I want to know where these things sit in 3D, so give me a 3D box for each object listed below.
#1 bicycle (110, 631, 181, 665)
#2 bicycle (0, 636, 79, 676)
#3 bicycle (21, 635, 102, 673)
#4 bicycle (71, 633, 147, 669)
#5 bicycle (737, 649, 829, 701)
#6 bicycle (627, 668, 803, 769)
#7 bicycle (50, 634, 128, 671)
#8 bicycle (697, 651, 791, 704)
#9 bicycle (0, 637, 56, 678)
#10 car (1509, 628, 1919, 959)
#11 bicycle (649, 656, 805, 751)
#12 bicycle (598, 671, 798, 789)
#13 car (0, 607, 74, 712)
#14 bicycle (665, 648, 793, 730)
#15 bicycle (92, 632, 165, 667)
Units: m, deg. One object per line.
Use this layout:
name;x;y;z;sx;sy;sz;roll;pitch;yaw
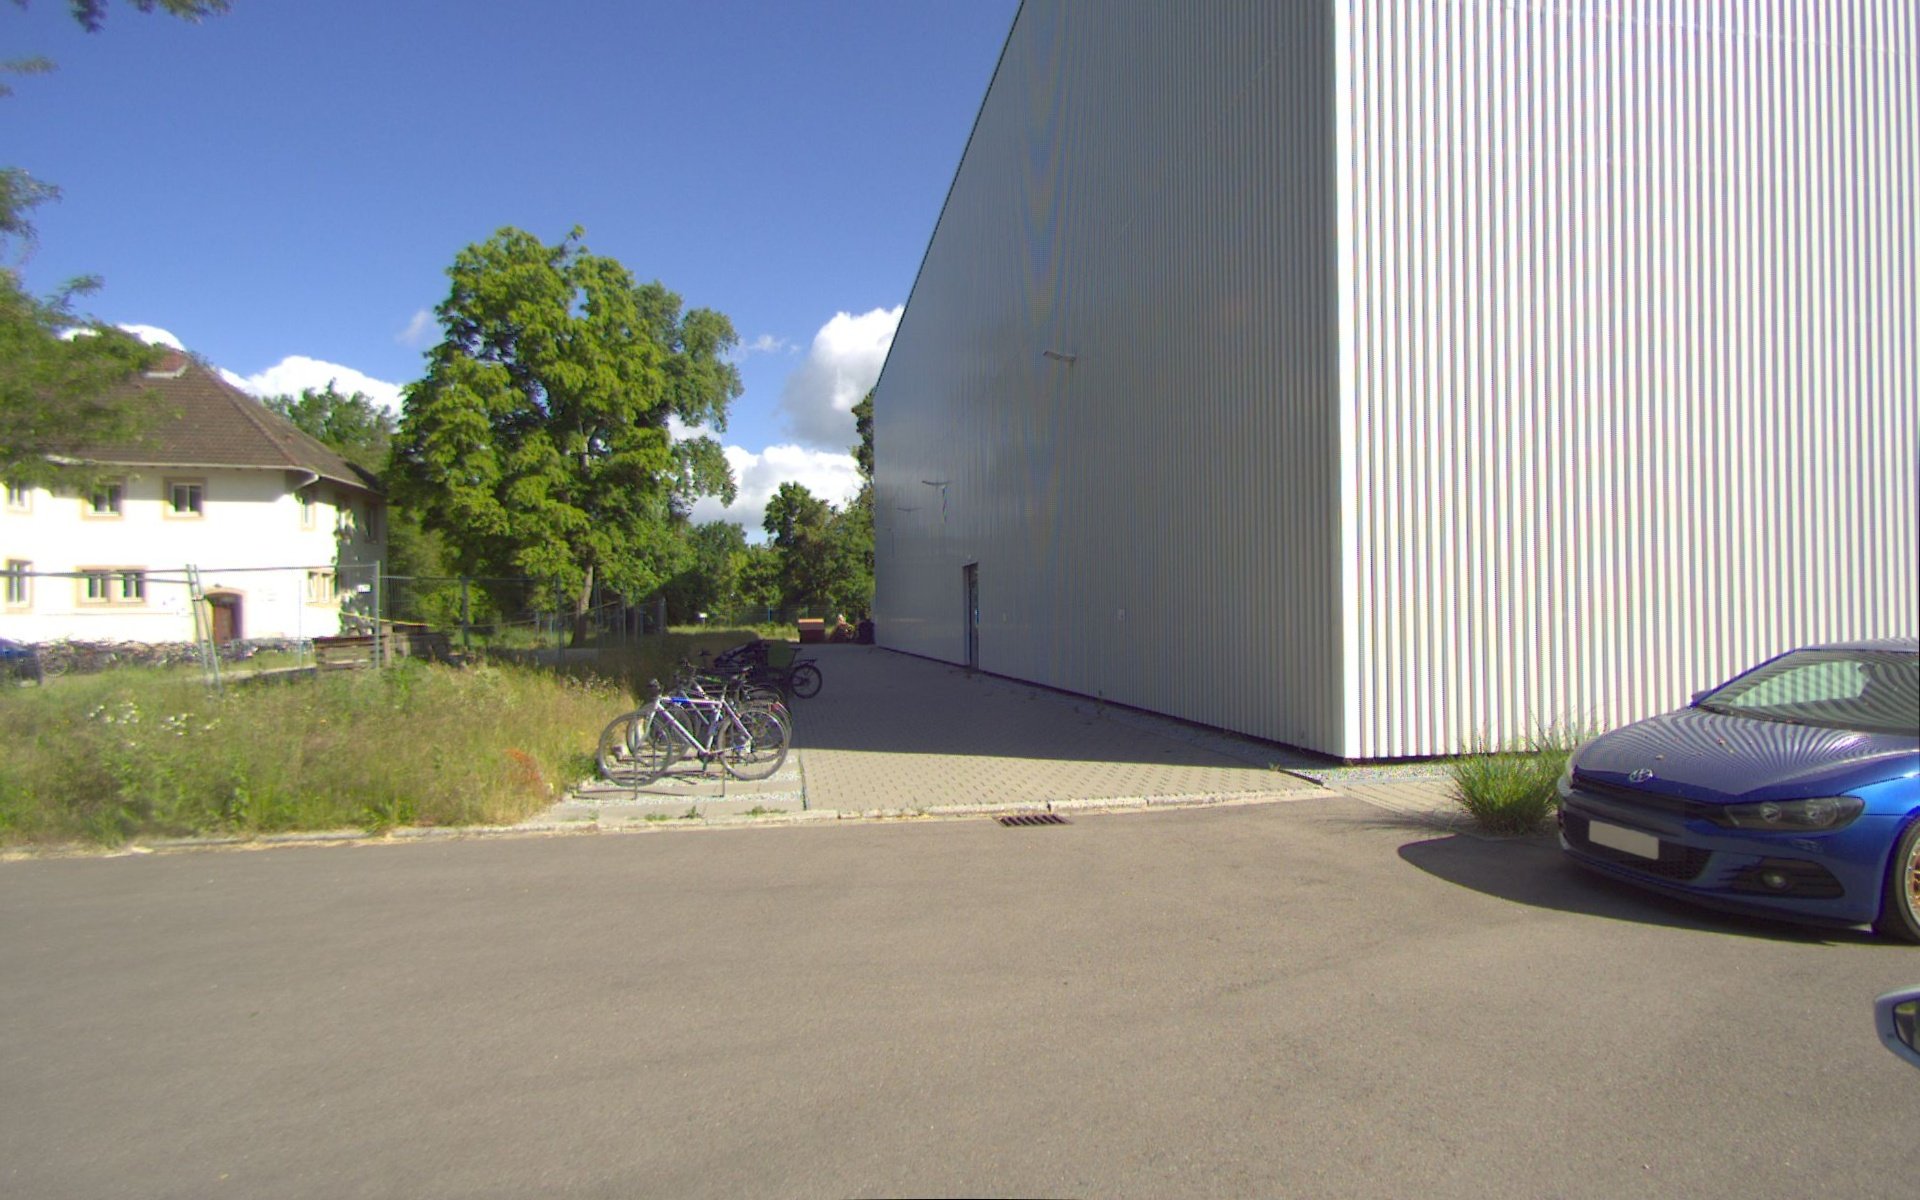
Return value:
bicycle;-29.358;1.731;36.213;1.807;1.148;0.795;2;0;-5
bicycle;-28.684;1.728;31.239;1.787;1.148;0.796;2;0;-5
bicycle;-28.785;1.729;32.191;1.795;1.148;0.758;2;0;-5
bicycle;-29.108;1.730;34.380;1.809;1.148;0.795;2;0;-5
bicycle;-3.591;1.515;20.440;1.805;0.973;0.480;0;0;-16
bicycle;-2.623;1.252;10.817;1.804;0.973;0.480;0;0;-16
bicycle;-28.936;1.730;33.377;1.809;1.148;0.795;2;0;-5
bicycle;-4.237;1.510;19.716;1.784;0.973;0.480;0;0;-16
bicycle;-28.538;1.727;30.249;1.800;1.148;0.794;2;0;-5
car;5.473;0.879;5.667;3.982;1.379;1.776;0;0;-11
bicycle;-2.805;1.229;12.146;1.801;1.051;0.480;0;0;-16
bicycle;-2.488;1.213;9.610;1.805;1.000;0.480;0;0;-16
car;-21.581;1.143;20.484;4.792;2.039;2.053;2;0;-14
bicycle;-3.379;1.285;14.728;1.805;1.103;0.480;0;0;-16
bicycle;-29.209;1.731;35.308;1.809;1.148;0.795;2;0;-5
